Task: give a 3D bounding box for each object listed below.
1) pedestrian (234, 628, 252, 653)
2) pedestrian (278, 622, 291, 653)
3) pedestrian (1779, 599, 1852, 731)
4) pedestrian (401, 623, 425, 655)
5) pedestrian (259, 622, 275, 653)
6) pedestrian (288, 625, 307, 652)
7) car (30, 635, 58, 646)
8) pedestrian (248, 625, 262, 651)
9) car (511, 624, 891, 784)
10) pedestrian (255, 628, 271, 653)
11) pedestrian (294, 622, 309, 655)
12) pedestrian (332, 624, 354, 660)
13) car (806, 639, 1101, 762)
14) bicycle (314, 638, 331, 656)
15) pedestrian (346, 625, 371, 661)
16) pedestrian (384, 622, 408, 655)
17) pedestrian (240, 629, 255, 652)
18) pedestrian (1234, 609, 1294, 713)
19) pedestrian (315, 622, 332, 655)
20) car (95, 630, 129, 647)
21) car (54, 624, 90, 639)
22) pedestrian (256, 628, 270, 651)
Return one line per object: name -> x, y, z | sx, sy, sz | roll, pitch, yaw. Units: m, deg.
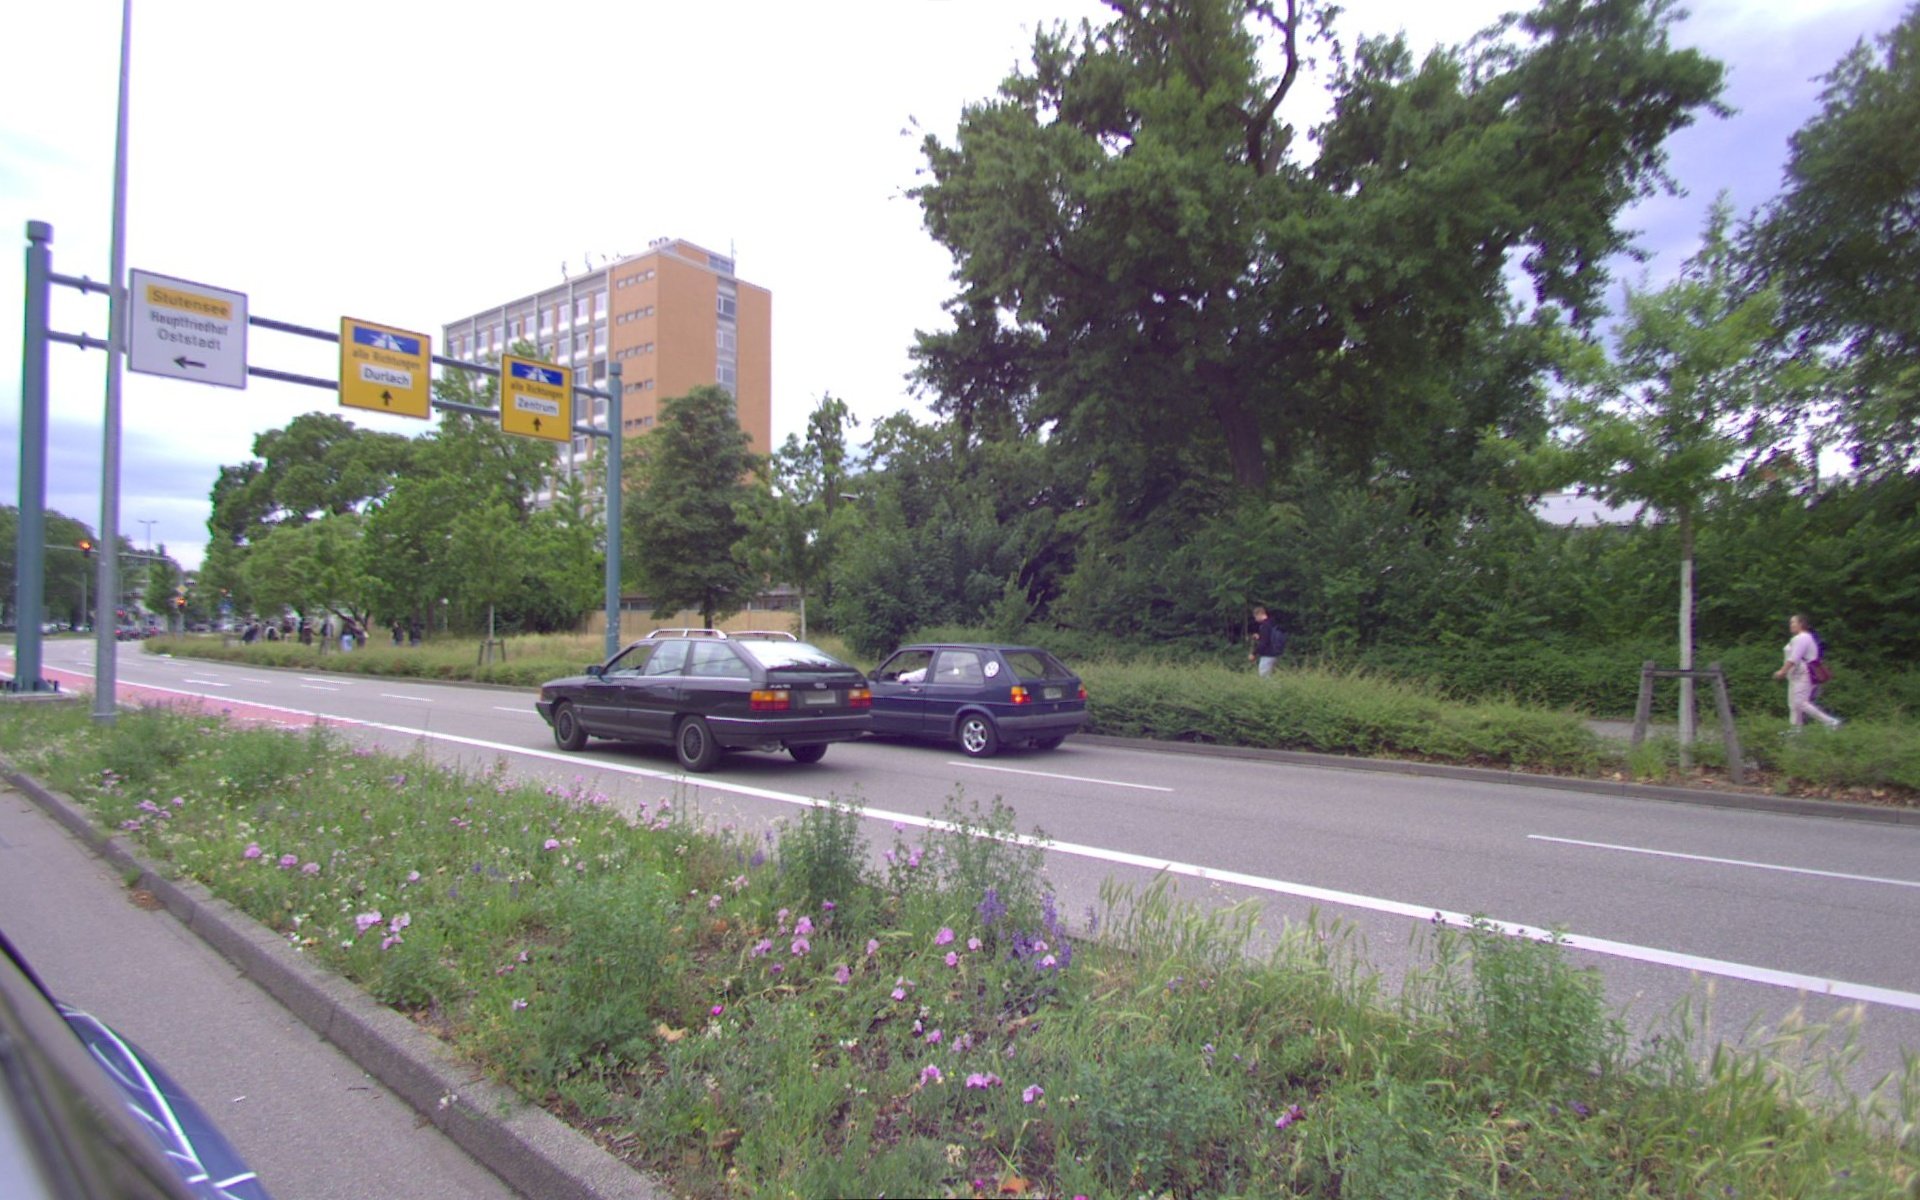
pedestrian -> -43.883, 2.491, 61.957 | 0.813, 1.491, 0.720 | -2, -4, 44
pedestrian -> -38.658, 2.157, 57.934 | 0.571, 1.725, 0.764 | 3, -4, -34
pedestrian -> 11.125, 0.836, 13.167 | 0.671, 1.648, 0.693 | -2, -4, 41
pedestrian -> -23.509, 1.673, 43.510 | 0.680, 1.373, 0.638 | -2, -4, 39
pedestrian -> -39.268, 2.130, 57.334 | 0.614, 1.708, 0.748 | 3, -4, -38
pedestrian -> -40.478, 2.326, 61.840 | 0.823, 1.625, 0.631 | -2, -1, 19
car -> -109.552, 4.848, 121.048 | 1.756, 1.271, 3.541 | 0, -1, -31
pedestrian -> -49.561, 2.679, 71.128 | 0.762, 1.815, 0.630 | -2, -3, 44
car -> -3.138, 1.055, 11.652 | 4.788, 1.471, 1.746 | -1, -4, 40
pedestrian -> -43.126, 2.504, 62.649 | 0.762, 1.491, 0.628 | -2, -4, 44
pedestrian -> -33.043, 1.944, 50.755 | 0.567, 1.621, 0.618 | 3, -4, -33
pedestrian -> -28.990, 1.994, 47.574 | 0.719, 1.673, 0.580 | -2, -4, 35
car -> -0.172, 1.221, 13.352 | 3.807, 1.391, 1.591 | -2, -4, 41
bicycle -> -32.320, 2.371, 51.330 | 0.652, 0.894, 1.719 | 3, -4, -34
pedestrian -> -28.612, 2.039, 48.136 | 0.766, 1.685, 0.700 | -2, -4, 35
pedestrian -> -23.931, 1.644, 42.916 | 0.711, 1.368, 0.638 | -2, -4, 40
pedestrian -> -52.332, 2.959, 74.317 | 0.943, 1.683, 0.698 | -2, -2, 44
pedestrian -> 5.240, 1.039, 17.462 | 0.818, 1.742, 0.613 | -2, -4, 41
pedestrian -> -32.318, 1.962, 51.355 | 0.652, 1.644, 0.765 | 3, -4, -34
car -> -85.986, 3.894, 102.672 | 1.785, 1.680, 3.962 | 2, -2, -27
car -> -97.594, 3.486, 111.268 | 1.583, 1.608, 3.770 | 2, -3, -18
pedestrian -> -51.643, 2.922, 74.941 | 0.890, 1.683, 0.698 | -2, -1, 44
